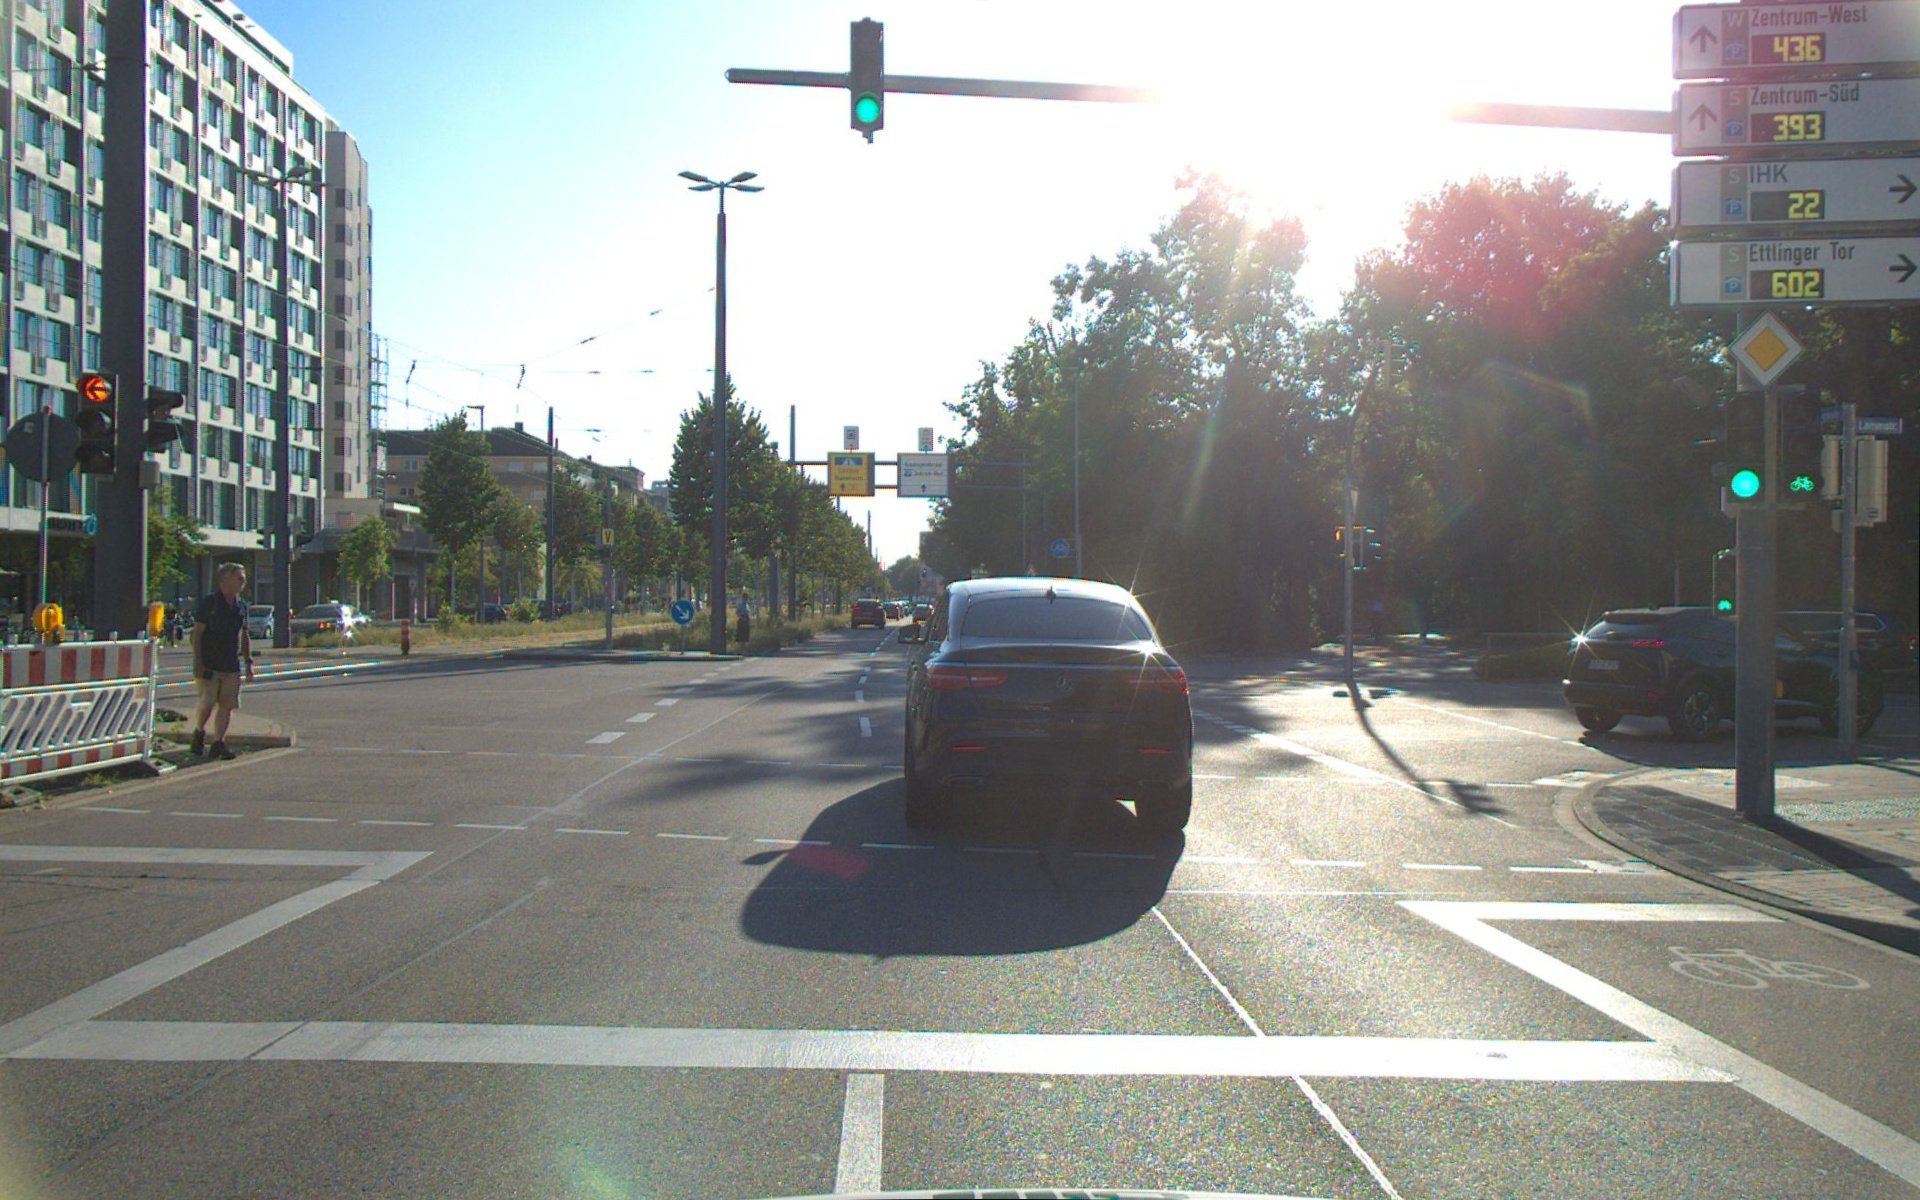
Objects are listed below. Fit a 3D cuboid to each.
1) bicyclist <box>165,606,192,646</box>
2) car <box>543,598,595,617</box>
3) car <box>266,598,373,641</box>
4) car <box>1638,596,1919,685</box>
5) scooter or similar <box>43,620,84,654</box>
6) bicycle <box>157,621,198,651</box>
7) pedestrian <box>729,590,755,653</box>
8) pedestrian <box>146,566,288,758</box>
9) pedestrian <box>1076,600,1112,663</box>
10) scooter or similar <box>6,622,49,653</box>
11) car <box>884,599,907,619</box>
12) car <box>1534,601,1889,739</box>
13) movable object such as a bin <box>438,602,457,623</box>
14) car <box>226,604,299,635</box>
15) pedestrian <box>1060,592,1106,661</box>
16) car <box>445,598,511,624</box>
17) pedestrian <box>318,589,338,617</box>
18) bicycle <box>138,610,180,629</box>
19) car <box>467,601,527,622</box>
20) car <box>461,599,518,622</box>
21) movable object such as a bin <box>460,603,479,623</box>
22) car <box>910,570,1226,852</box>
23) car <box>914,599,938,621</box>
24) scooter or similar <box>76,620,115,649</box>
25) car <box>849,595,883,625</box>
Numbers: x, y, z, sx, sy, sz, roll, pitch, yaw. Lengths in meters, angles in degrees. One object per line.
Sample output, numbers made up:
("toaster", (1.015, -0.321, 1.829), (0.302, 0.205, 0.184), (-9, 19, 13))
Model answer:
("bicyclist", (-29.702, 0.982, 62.875), (0.612, 1.490, 0.851), (0, 0, -1))
("car", (-34.120, 0.668, 144.447), (3.968, 1.590, 1.968), (1, 0, -44))
("car", (-21.555, 0.636, 55.864), (1.853, 1.367, 4.848), (0, 0, -2))
("car", (14.604, 0.698, 29.700), (4.494, 1.500, 1.902), (0, -1, 23))
("scooter or similar", (-31.807, 1.308, 58.664), (1.218, 1.192, 0.406), (0, 0, -1))
("bicycle", (-29.715, 1.365, 62.855), (0.612, 1.085, 2.077), (0, 0, -1))
("pedestrian", (-6.023, 0.599, 45.805), (0.586, 1.729, 0.714), (0, 0, 4))
("pedestrian", (-6.711, 0.542, 14.953), (0.905, 1.678, 0.765), (0, 0, 24))
("pedestrian", (3.636, 0.844, 44.861), (0.752, 1.665, 0.768), (-2, 0, -11))
("scooter or similar", (-31.947, 1.284, 56.676), (1.218, 1.037, 0.435), (0, 0, -1))
("car", (-5.383, 0.725, 138.692), (1.848, 1.608, 3.998), (1, 1, -2))
("car", (9.353, 0.817, 20.589), (3.993, 1.554, 1.889), (1, 0, -25))
("movable object such as a bin", (-34.192, 0.830, 110.362), (0.839, 1.381, 0.940), (0, 0, 13))
("car", (-32.312, 0.880, 76.705), (1.721, 1.351, 3.999), (1, 0, -1))
("pedestrian", (3.403, 0.727, 45.658), (0.850, 1.833, 0.896), (-2, 0, -36))
("car", (-33.737, 0.756, 115.891), (4.062, 1.629, 1.723), (3, 0, -43))
("pedestrian", (-37.977, 0.177, 99.405), (0.826, 1.682, 0.970), (0, 0, 0))
("bicycle", (-39.735, 0.976, 82.078), (1.770, 0.921, 0.511), (0, 0, -8))
("car", (-34.237, 0.833, 122.348), (1.754, 1.478, 3.979), (1, 0, 40))
("car", (-33.978, 0.771, 119.502), (3.595, 1.550, 1.596), (3, -1, -43))
("movable object such as a bin", (-32.842, 0.863, 110.727), (0.839, 1.303, 0.940), (0, 0, 13))
("car", (0.627, 0.685, 12.499), (1.953, 1.764, 3.998), (1, 1, -2))
("car", (-2.701, 0.787, 131.127), (1.848, 1.608, 3.998), (1, 1, -2))
("scooter or similar", (-31.986, 1.279, 61.220), (1.218, 1.037, 0.435), (0, 0, -1))
("car", (-5.258, 0.538, 92.909), (1.848, 1.608, 3.998), (1, 1, -2))
